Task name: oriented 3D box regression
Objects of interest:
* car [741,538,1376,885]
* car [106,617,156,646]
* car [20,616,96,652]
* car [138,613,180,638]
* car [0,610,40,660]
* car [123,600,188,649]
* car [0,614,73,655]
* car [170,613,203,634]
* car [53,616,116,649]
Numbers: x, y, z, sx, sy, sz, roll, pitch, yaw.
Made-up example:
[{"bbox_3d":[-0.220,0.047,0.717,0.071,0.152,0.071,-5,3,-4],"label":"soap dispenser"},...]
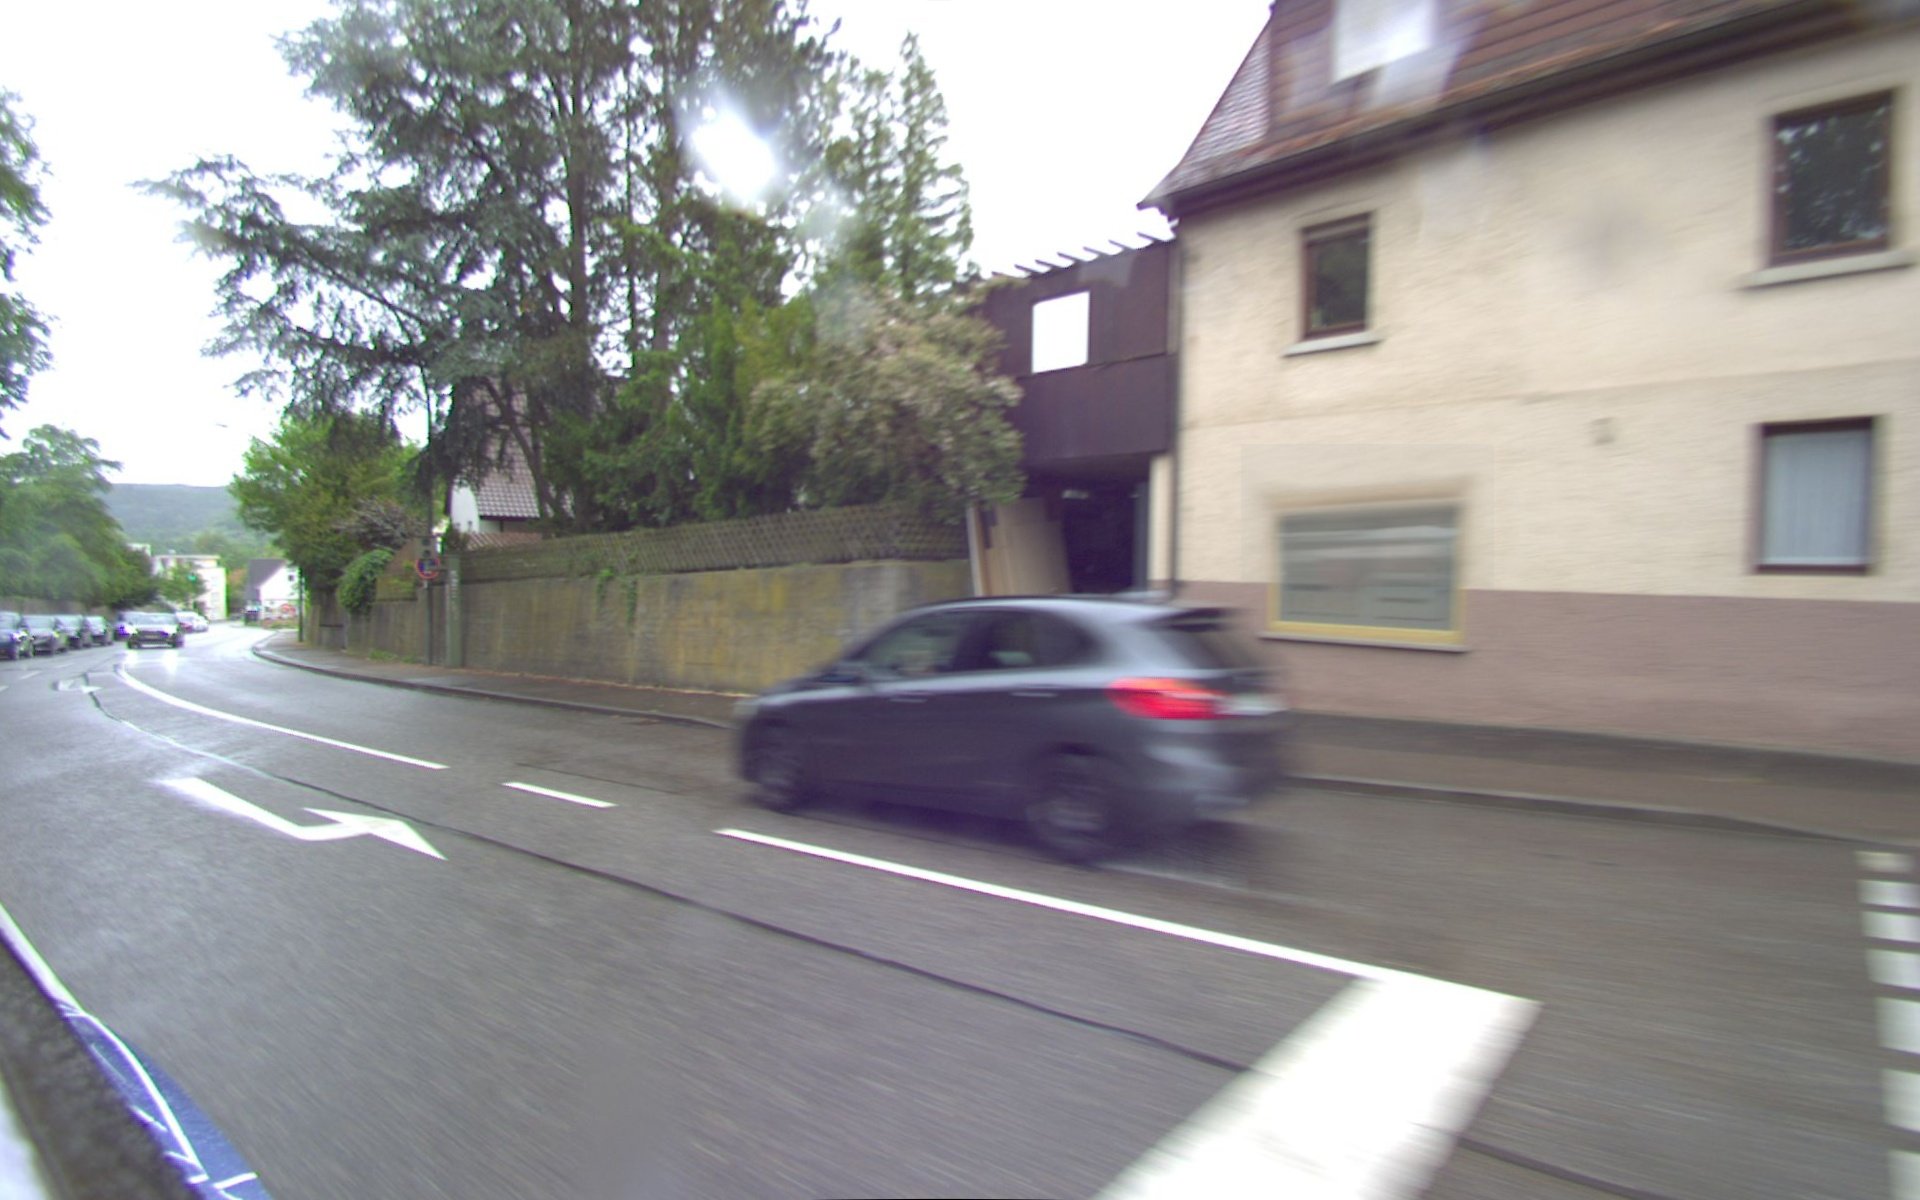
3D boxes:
[{"bbox_3d":[0.530,0.582,7.059,3.995,1.719,1.974,-1,-1,39],"label":"car"},{"bbox_3d":[-47.896,1.801,58.524,1.804,1.642,4.164,1,-2,-34],"label":"car"},{"bbox_3d":[-37.570,1.379,42.244,1.735,1.430,4.165,1,-2,-33],"label":"car"},{"bbox_3d":[-54.843,1.761,69.355,1.804,1.642,4.165,1,-2,-32],"label":"car"},{"bbox_3d":[-31.302,1.116,32.687,1.765,1.544,3.810,1,-2,-34],"label":"car"},{"bbox_3d":[-35.786,1.028,45.117,1.967,2.029,4.010,-1,1,-34],"label":"car"},{"bbox_3d":[-34.473,1.265,37.358,1.966,1.430,4.496,1,-2,-34],"label":"car"},{"bbox_3d":[-66.890,2.003,87.579,1.917,1.807,4.198,1,-1,-33],"label":"car"},{"bbox_3d":[-40.397,1.488,46.792,1.736,1.430,4.164,1,-2,-35],"label":"car"}]
